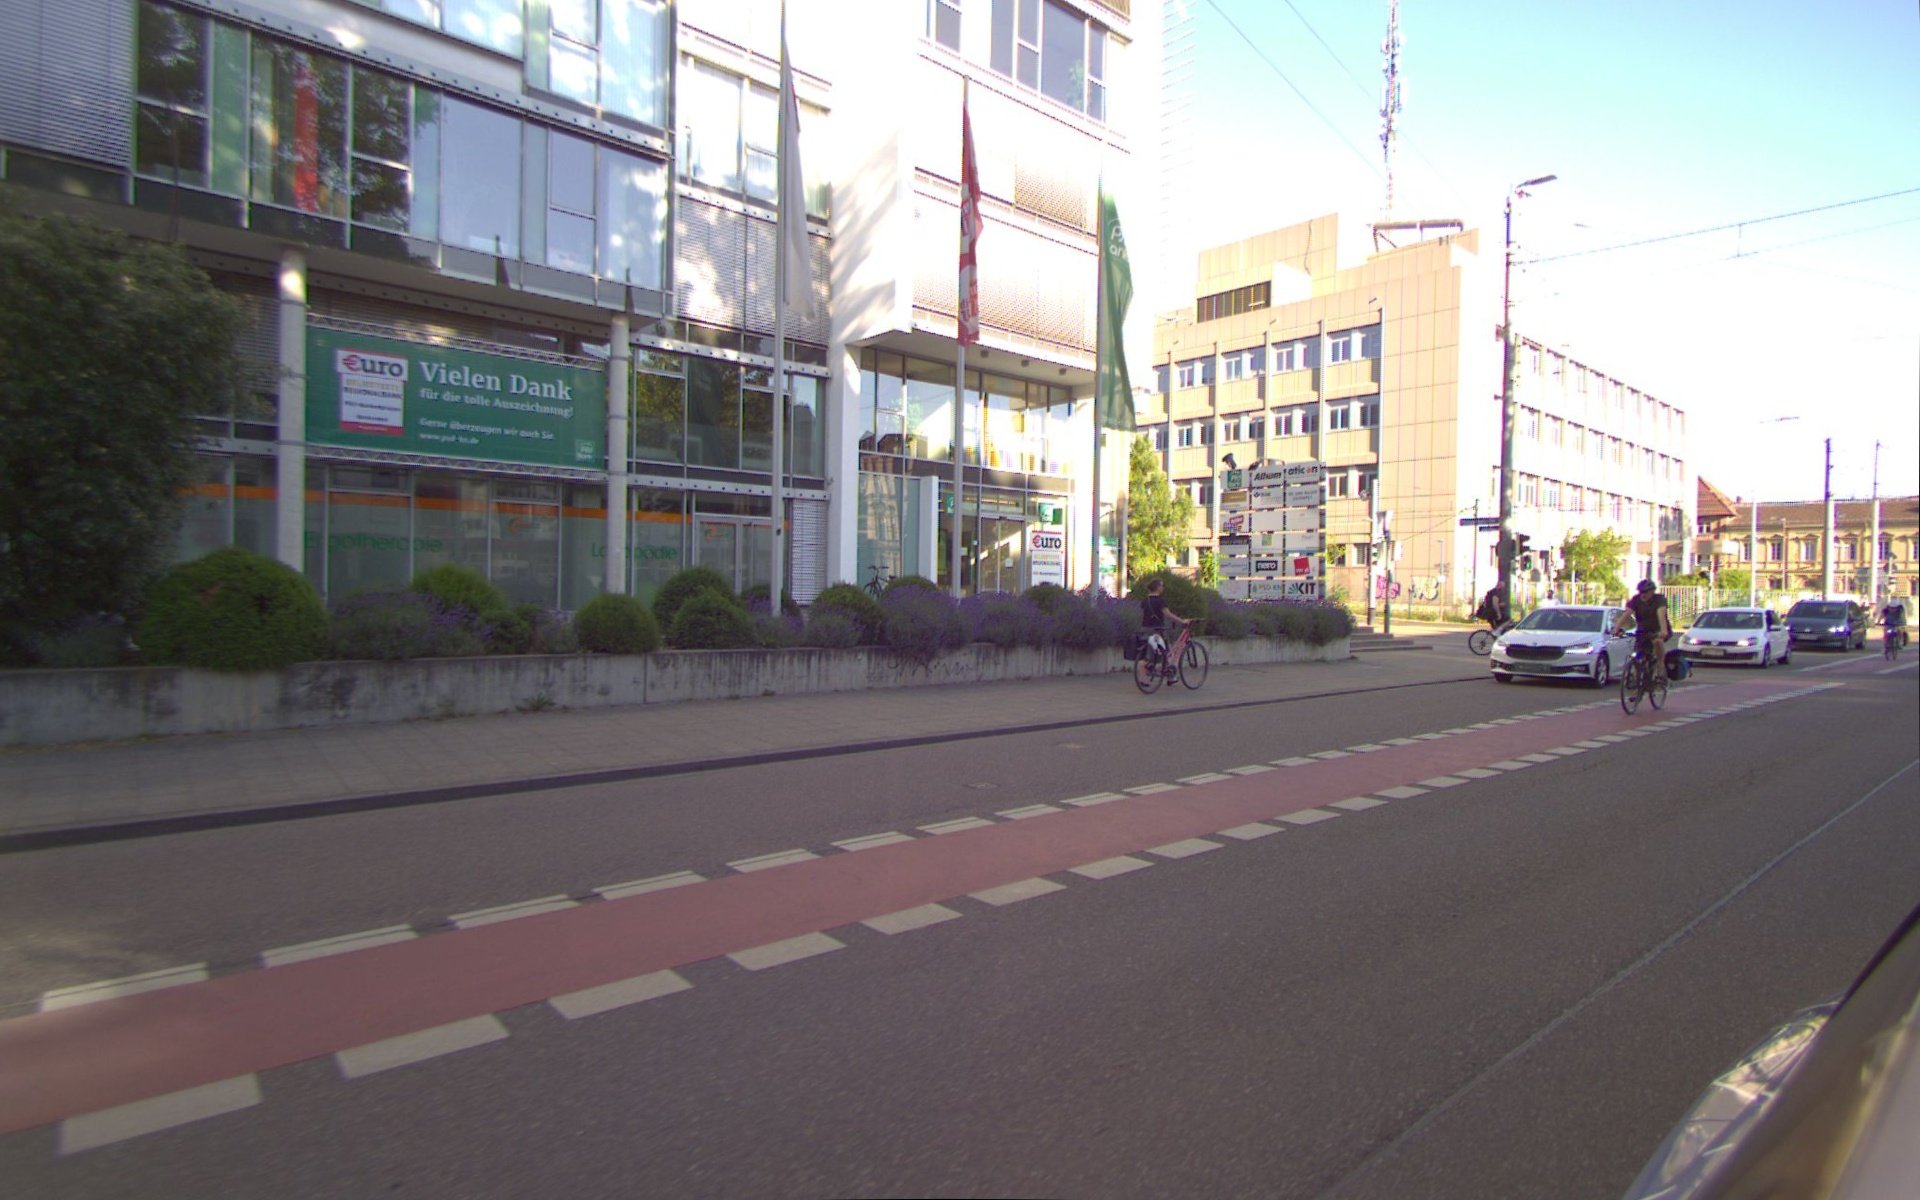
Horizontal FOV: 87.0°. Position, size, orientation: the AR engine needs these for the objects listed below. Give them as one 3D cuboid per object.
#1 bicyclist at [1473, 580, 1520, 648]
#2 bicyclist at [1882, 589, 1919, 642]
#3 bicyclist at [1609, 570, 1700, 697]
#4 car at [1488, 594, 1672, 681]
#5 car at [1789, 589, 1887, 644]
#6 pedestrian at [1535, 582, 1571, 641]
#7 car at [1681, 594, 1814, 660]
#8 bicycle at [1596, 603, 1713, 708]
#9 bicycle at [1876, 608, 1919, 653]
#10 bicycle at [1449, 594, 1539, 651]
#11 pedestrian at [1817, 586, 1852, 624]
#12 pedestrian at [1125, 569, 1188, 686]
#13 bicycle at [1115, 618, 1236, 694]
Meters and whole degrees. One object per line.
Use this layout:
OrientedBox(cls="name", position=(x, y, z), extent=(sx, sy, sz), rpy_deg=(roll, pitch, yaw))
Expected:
OrientedBox(cls="bicyclist", position=(13.621, 0.344, 25.710), extent=(0.850, 1.692, 0.649), rpy_deg=(2, 1, 14))
OrientedBox(cls="bicyclist", position=(25.841, 0.409, 27.737), extent=(0.844, 1.440, 0.727), rpy_deg=(0, 0, -39))
OrientedBox(cls="bicyclist", position=(9.343, 0.427, 13.613), extent=(1.068, 1.623, 0.652), rpy_deg=(1, 1, -36))
OrientedBox(cls="car", position=(11.451, 0.623, 18.599), extent=(4.002, 1.406, 1.704), rpy_deg=(0, 0, -40))
OrientedBox(cls="car", position=(28.519, 0.528, 32.834), extent=(4.225, 1.664, 1.792), rpy_deg=(0, -1, -40))
OrientedBox(cls="pedestrian", position=(19.037, 0.358, 32.461), extent=(0.776, 1.846, 1.198), rpy_deg=(2, 1, 39))
OrientedBox(cls="car", position=(19.799, 0.650, 25.394), extent=(4.225, 1.521, 1.792), rpy_deg=(0, -1, -40))
OrientedBox(cls="bicycle", position=(9.371, 0.713, 13.625), extent=(1.929, 1.297, 0.652), rpy_deg=(1, 1, -36))
OrientedBox(cls="bicycle", position=(25.863, 0.803, 27.757), extent=(2.266, 1.158, 0.764), rpy_deg=(0, 1, -40))
OrientedBox(cls="bicycle", position=(13.544, 0.557, 25.719), extent=(1.839, 1.296, 0.649), rpy_deg=(4, 1, 14))
OrientedBox(cls="pedestrian", position=(43.674, 0.241, 50.530), extent=(1.063, 1.835, 0.735), rpy_deg=(0, 1, 6))
OrientedBox(cls="pedestrian", position=(2.971, 0.399, 15.343), extent=(0.640, 1.701, 0.647), rpy_deg=(1, 1, -43))
OrientedBox(cls="bicycle", position=(3.214, 0.792, 14.937), extent=(2.164, 0.986, 0.522), rpy_deg=(1, 4, -43))
